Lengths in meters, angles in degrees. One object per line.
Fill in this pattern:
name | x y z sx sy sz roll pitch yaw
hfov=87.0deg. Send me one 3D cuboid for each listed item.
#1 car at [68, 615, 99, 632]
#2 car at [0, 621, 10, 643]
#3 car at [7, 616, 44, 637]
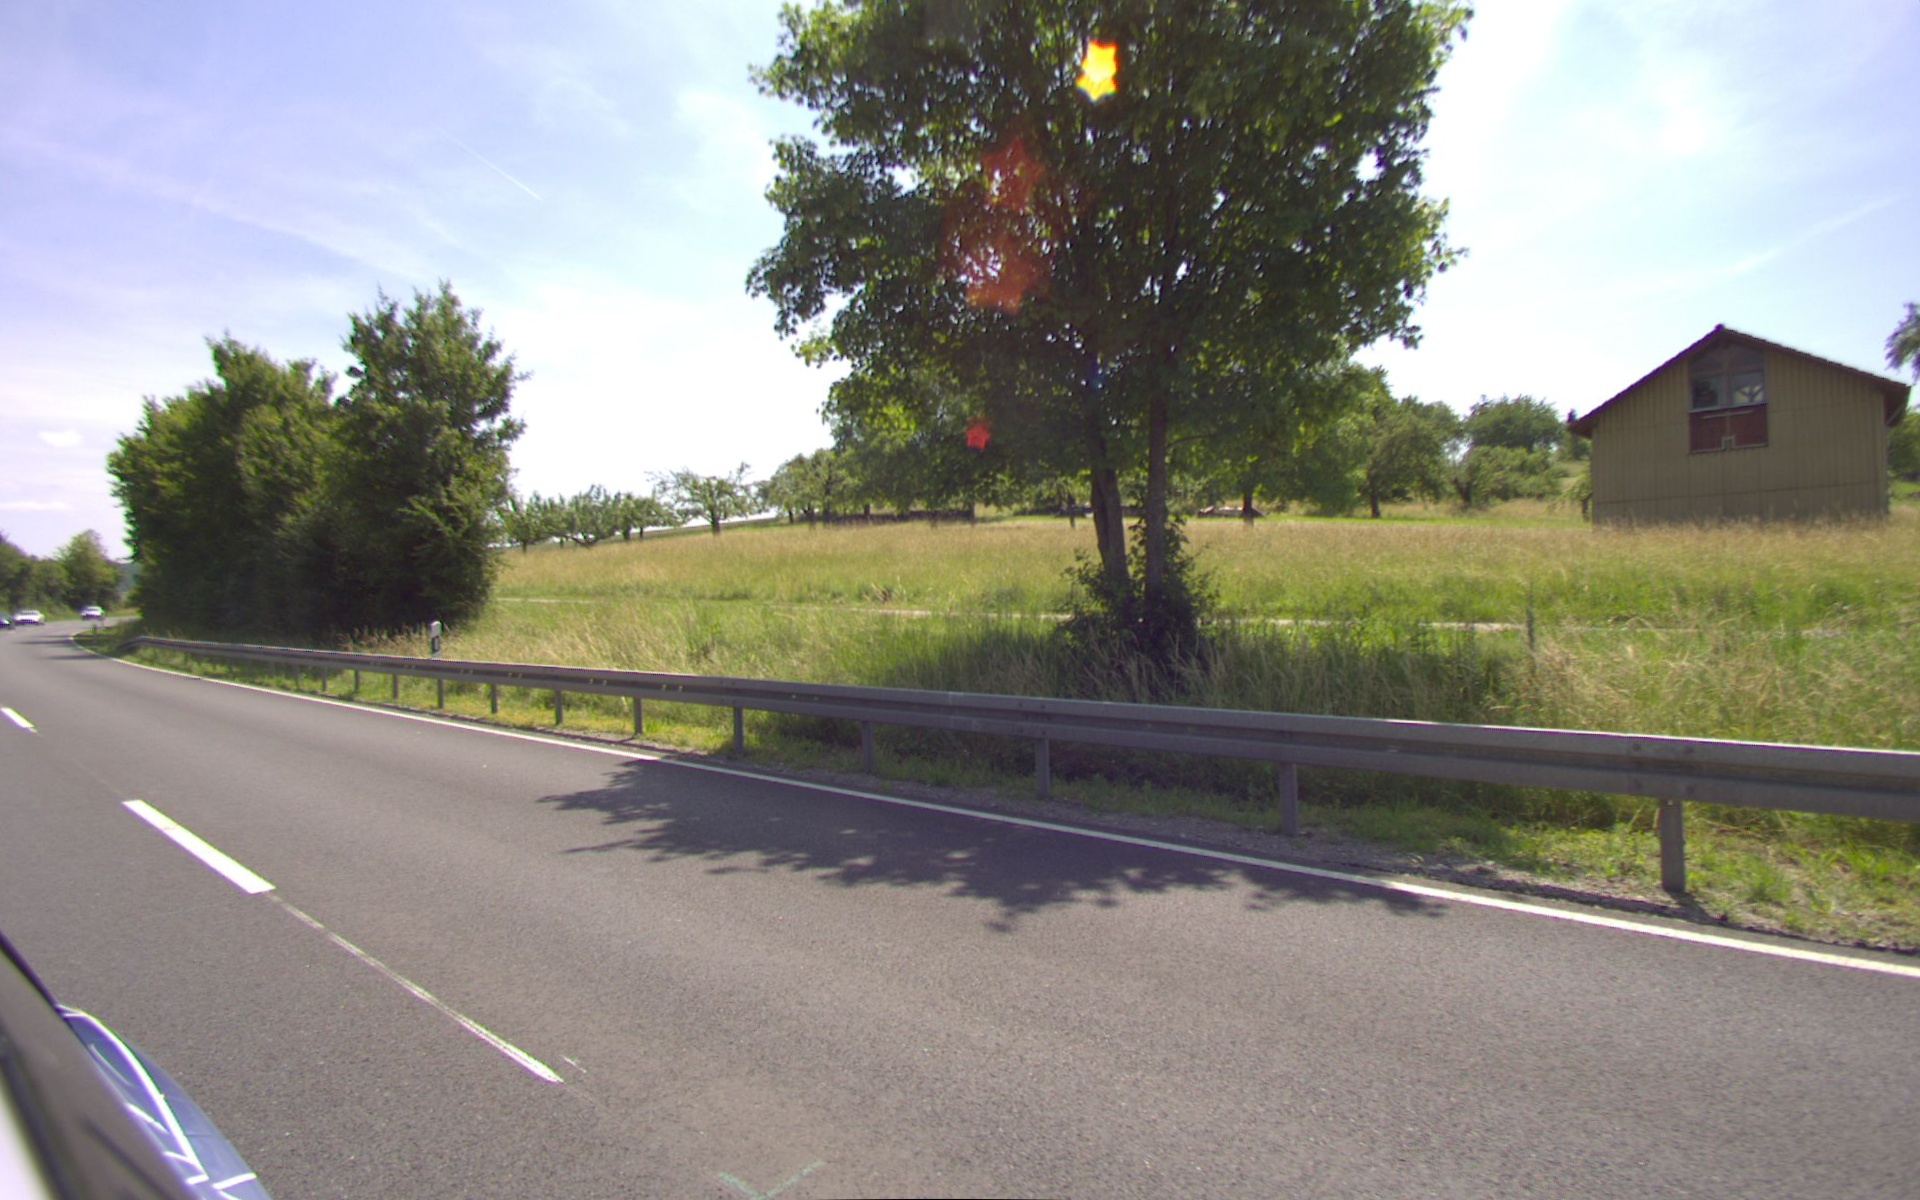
car | -108.664 2.912 125.469 1.965 2.029 4.013 -1 -1 -27
car | -79.457 2.651 82.981 1.854 1.721 4.009 1 -2 -37
car | -93.309 2.630 101.094 1.966 2.029 4.011 1 -2 -32
